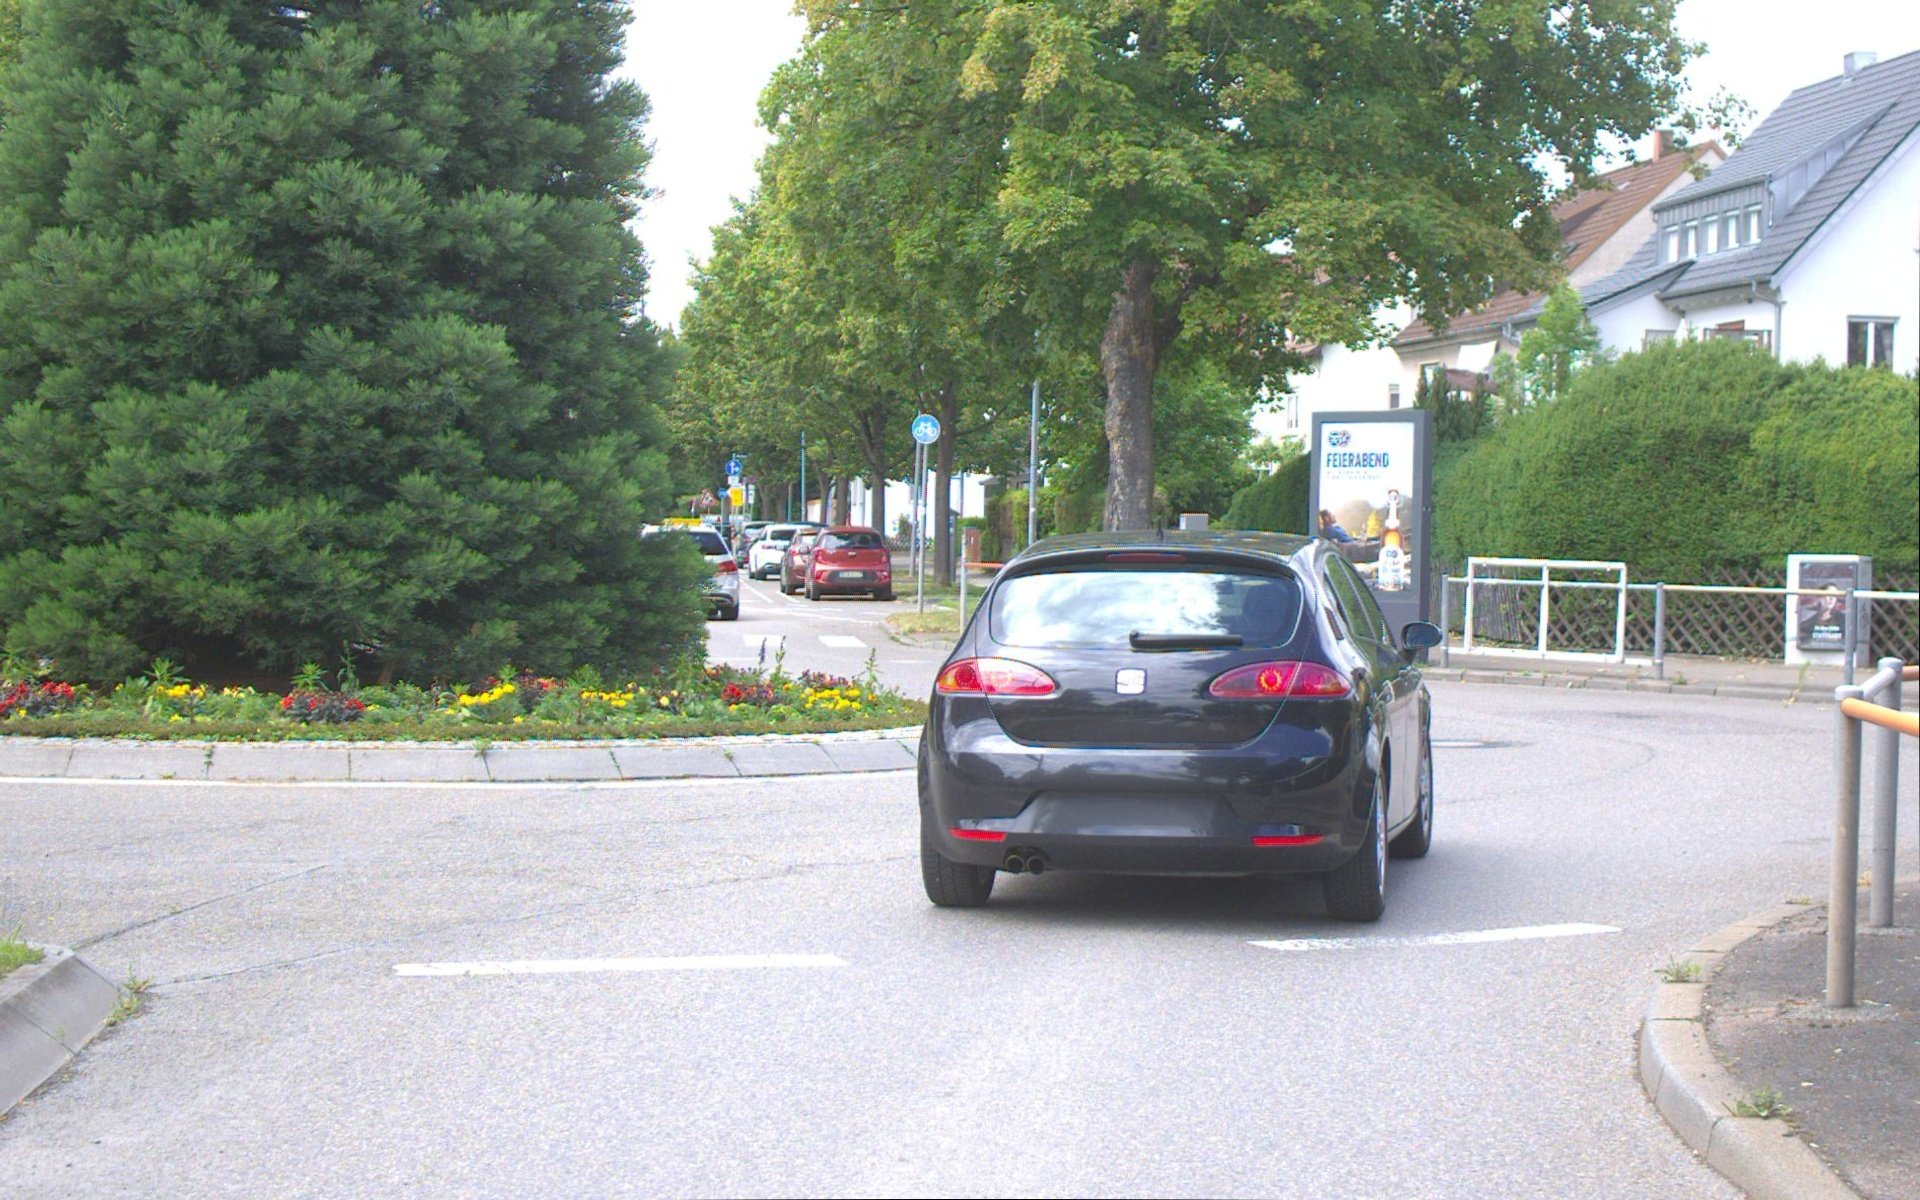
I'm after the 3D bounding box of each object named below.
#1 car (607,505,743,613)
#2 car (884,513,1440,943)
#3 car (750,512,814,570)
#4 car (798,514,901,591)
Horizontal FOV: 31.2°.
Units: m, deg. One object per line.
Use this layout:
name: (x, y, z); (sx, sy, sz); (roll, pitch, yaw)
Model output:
car: (-4.555, -0.678, 54.446); (1.993, 1.607, 4.001); (1, 1, -7)
car: (0.968, 0.393, 14.044); (1.733, 1.481, 3.998); (1, 1, 11)
car: (-4.718, -1.574, 90.770); (1.594, 1.505, 3.601); (0, 2, -4)
car: (-2.248, -0.972, 69.394); (1.474, 1.484, 3.383); (0, 2, -12)
